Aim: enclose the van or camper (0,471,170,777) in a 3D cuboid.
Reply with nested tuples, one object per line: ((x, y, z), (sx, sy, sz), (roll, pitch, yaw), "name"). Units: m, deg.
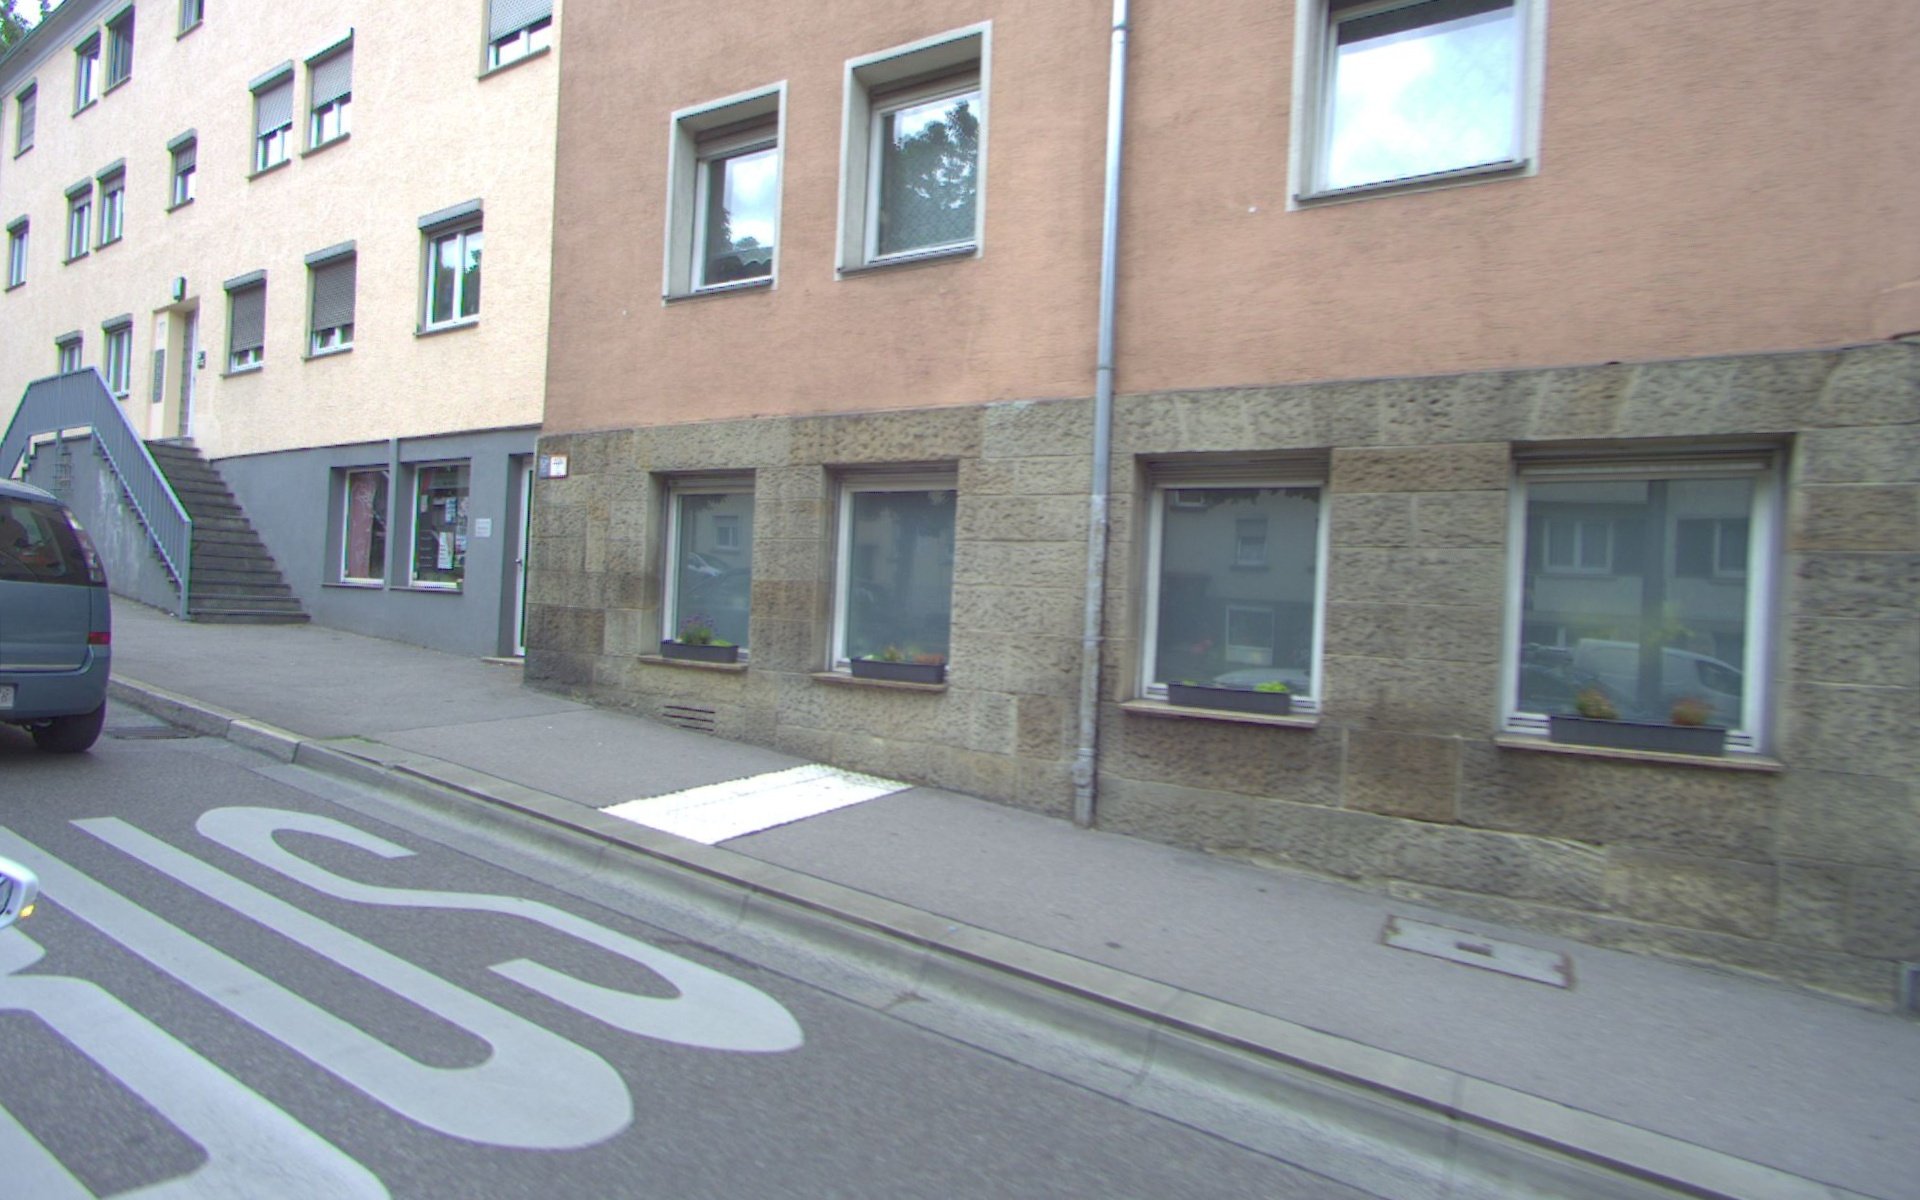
((-6.629, -0.056, 6.004), (3.585, 1.596, 1.738), (7, -1, 31), "van or camper")
